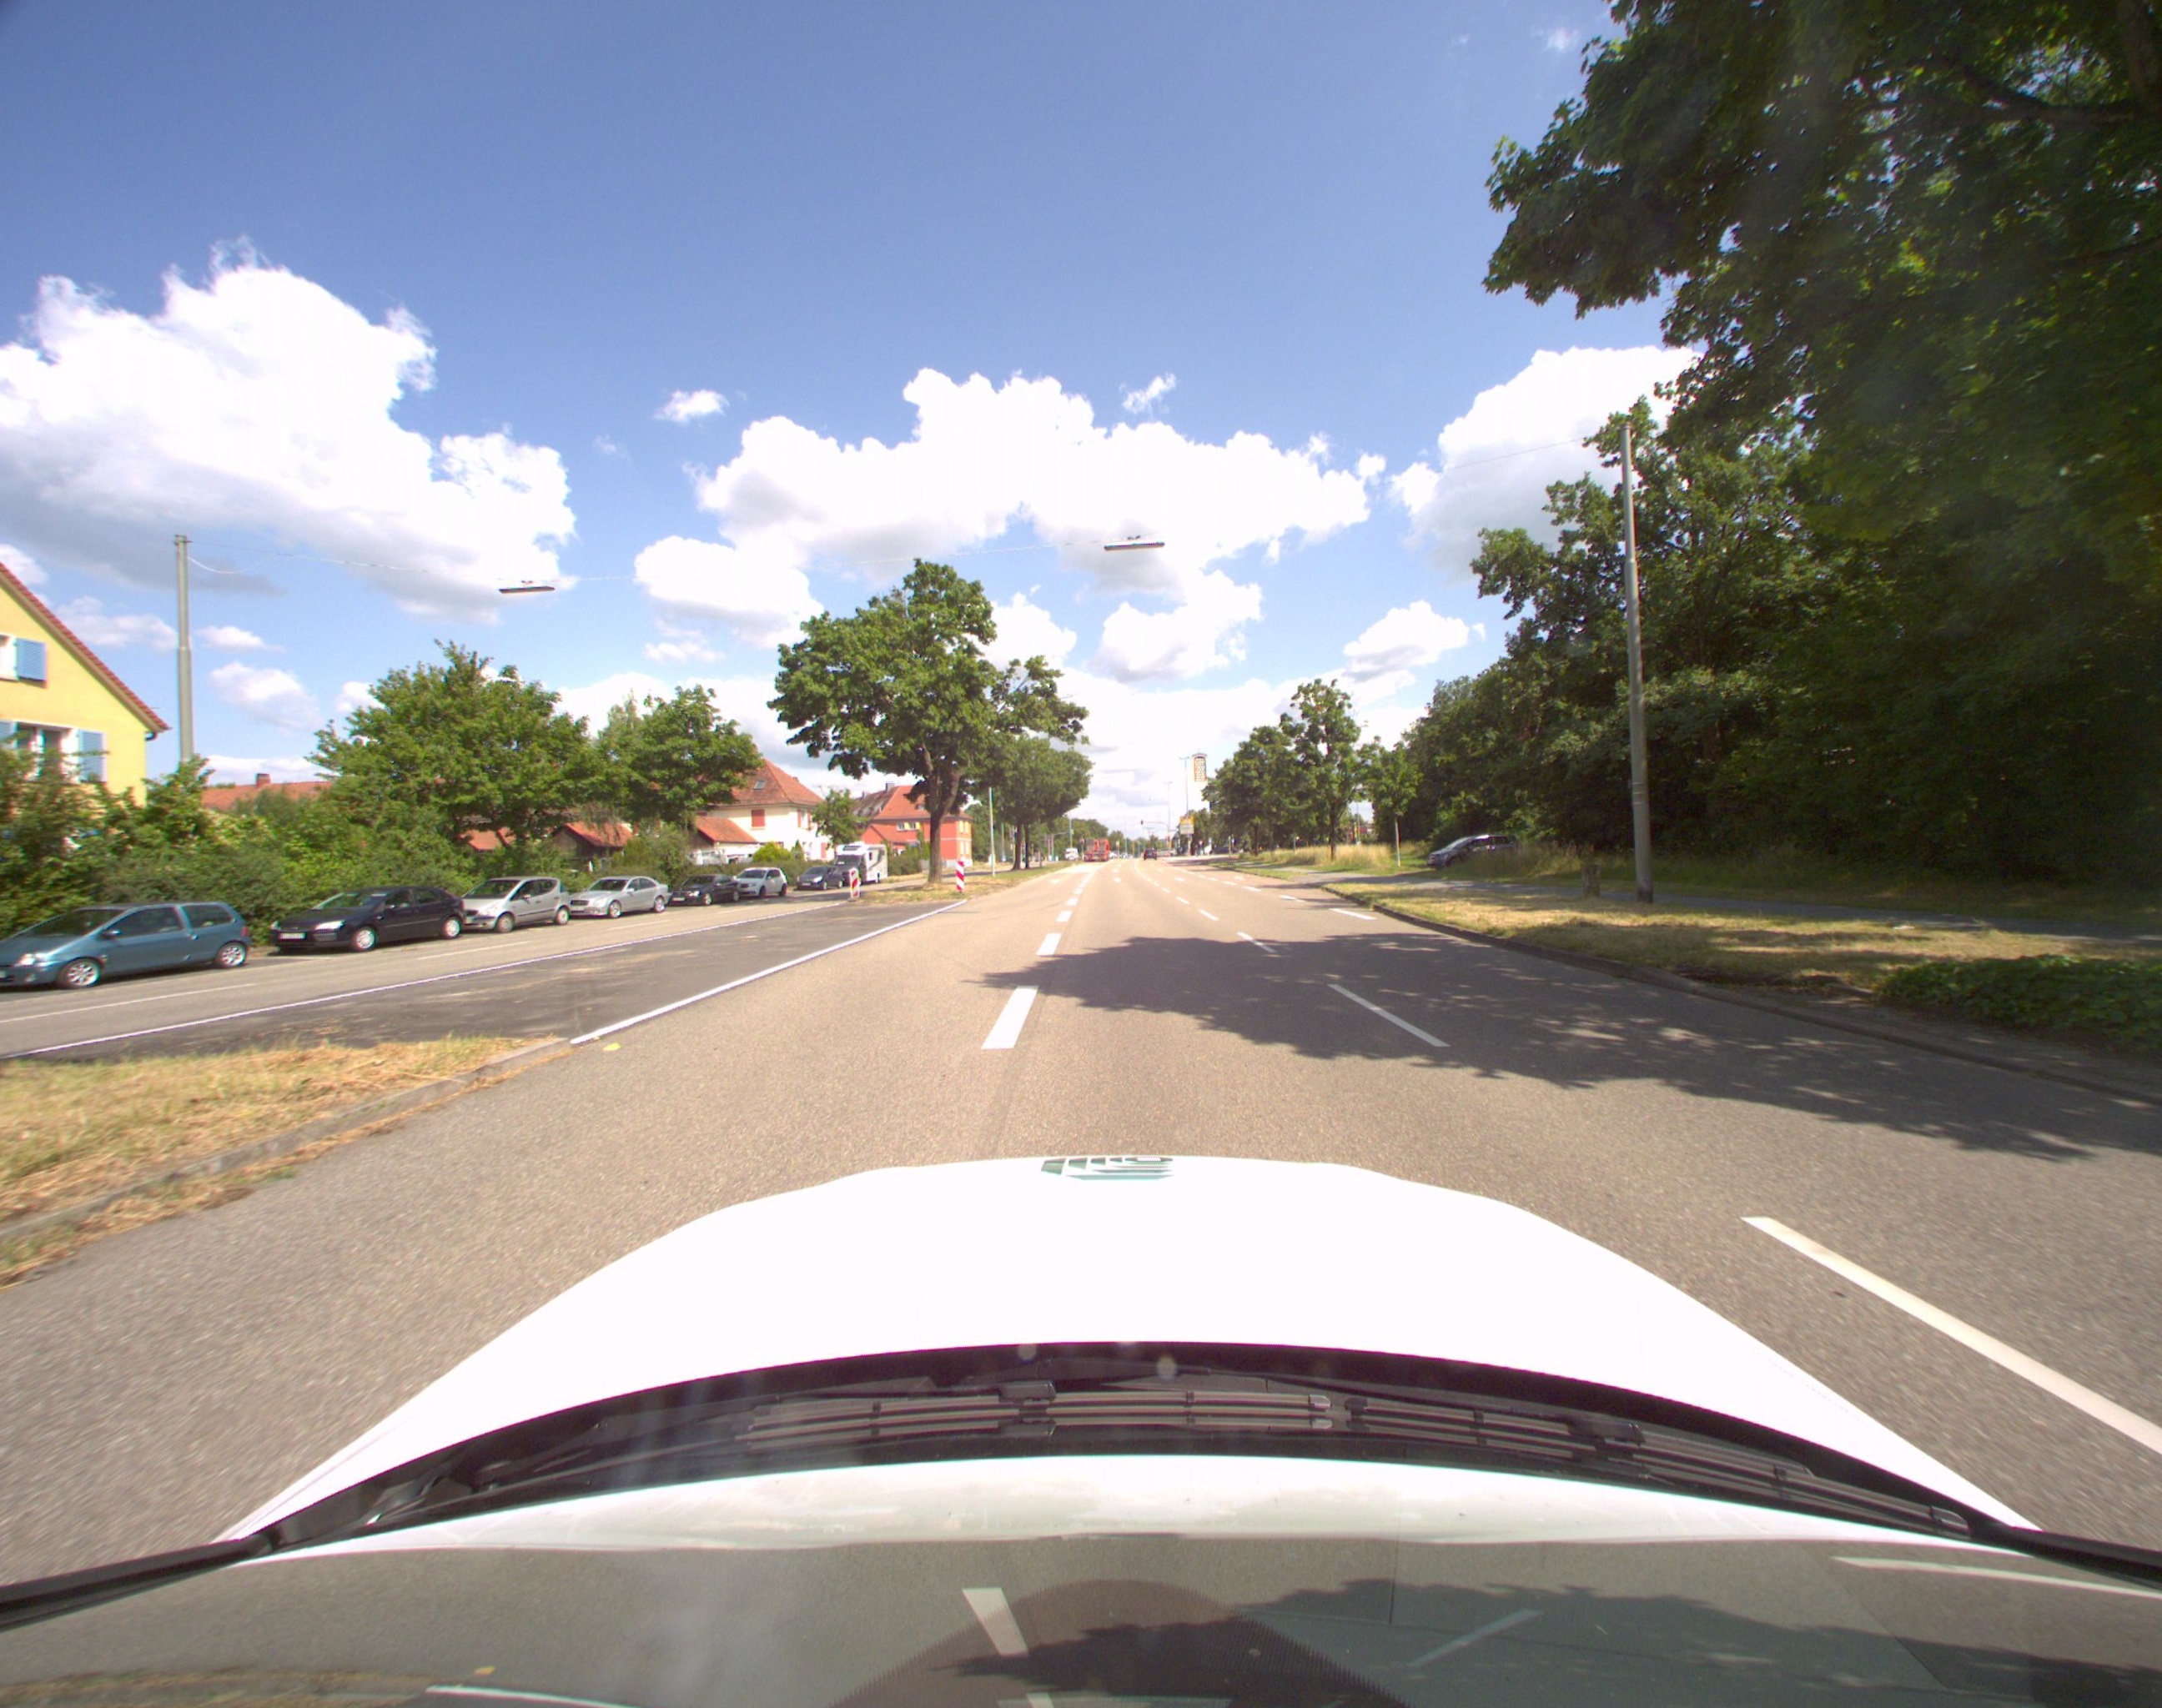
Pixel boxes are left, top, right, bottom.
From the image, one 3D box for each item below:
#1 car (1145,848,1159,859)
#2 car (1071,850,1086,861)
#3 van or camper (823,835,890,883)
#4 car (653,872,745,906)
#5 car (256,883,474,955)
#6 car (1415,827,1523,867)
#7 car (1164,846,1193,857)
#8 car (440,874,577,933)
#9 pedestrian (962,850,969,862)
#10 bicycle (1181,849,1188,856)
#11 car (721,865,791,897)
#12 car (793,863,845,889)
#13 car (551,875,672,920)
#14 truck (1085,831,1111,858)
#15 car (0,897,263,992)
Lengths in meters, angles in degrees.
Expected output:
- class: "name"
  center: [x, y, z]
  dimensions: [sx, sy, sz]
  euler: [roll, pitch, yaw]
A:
- class: "car"
  center: [9.744, -0.038, 111.654]
  dimensions: [1.791, 1.552, 4.004]
  euler: [0, -1, 4]
- class: "car"
  center: [-0.362, 0.224, 123.711]
  dimensions: [1.725, 1.508, 4.657]
  euler: [-5, -1, 4]
- class: "van or camper"
  center: [-15.578, 0.268, 57.034]
  dimensions: [2.249, 3.112, 7.328]
  euler: [0, 1, 4]
- class: "car"
  center: [-16.777, 1.498, 36.047]
  dimensions: [1.629, 1.306, 4.589]
  euler: [0, 0, 4]
- class: "car"
  center: [-17.344, 1.507, 20.063]
  dimensions: [1.397, 1.395, 4.359]
  euler: [0, 0, 2]
- class: "car"
  center: [18.080, -0.349, 38.053]
  dimensions: [4.155, 1.493, 1.782]
  euler: [-5, 2, -5]
- class: "car"
  center: [12.779, -0.313, 106.918]
  dimensions: [3.578, 1.442, 1.469]
  euler: [0, -1, -15]
- class: "car"
  center: [-17.239, 1.433, 24.745]
  dimensions: [1.397, 1.557, 3.744]
  euler: [0, 0, 2]
- class: "pedestrian"
  center: [-14.498, 0.261, 102.191]
  dimensions: [0.693, 1.583, 0.852]
  euler: [0, -1, 3]
- class: "bicycle"
  center: [15.766, -0.234, 123.630]
  dimensions: [0.643, 1.107, 1.937]
  euler: [0, -1, 19]
- class: "car"
  center: [-16.475, 1.331, 41.484]
  dimensions: [1.681, 1.485, 4.128]
  euler: [0, -1, 4]
- class: "car"
  center: [-15.940, 1.305, 49.712]
  dimensions: [1.629, 1.485, 3.996]
  euler: [0, -1, 4]
- class: "car"
  center: [-16.850, 1.518, 29.499]
  dimensions: [1.504, 1.370, 4.536]
  euler: [0, 0, 4]
- class: "truck"
  center: [2.430, -1.197, 111.500]
  dimensions: [3.057, 3.414, 11.079]
  euler: [0, -1, 4]
- class: "car"
  center: [-17.751, 1.581, 15.108]
  dimensions: [1.556, 1.395, 3.478]
  euler: [0, -1, 2]
